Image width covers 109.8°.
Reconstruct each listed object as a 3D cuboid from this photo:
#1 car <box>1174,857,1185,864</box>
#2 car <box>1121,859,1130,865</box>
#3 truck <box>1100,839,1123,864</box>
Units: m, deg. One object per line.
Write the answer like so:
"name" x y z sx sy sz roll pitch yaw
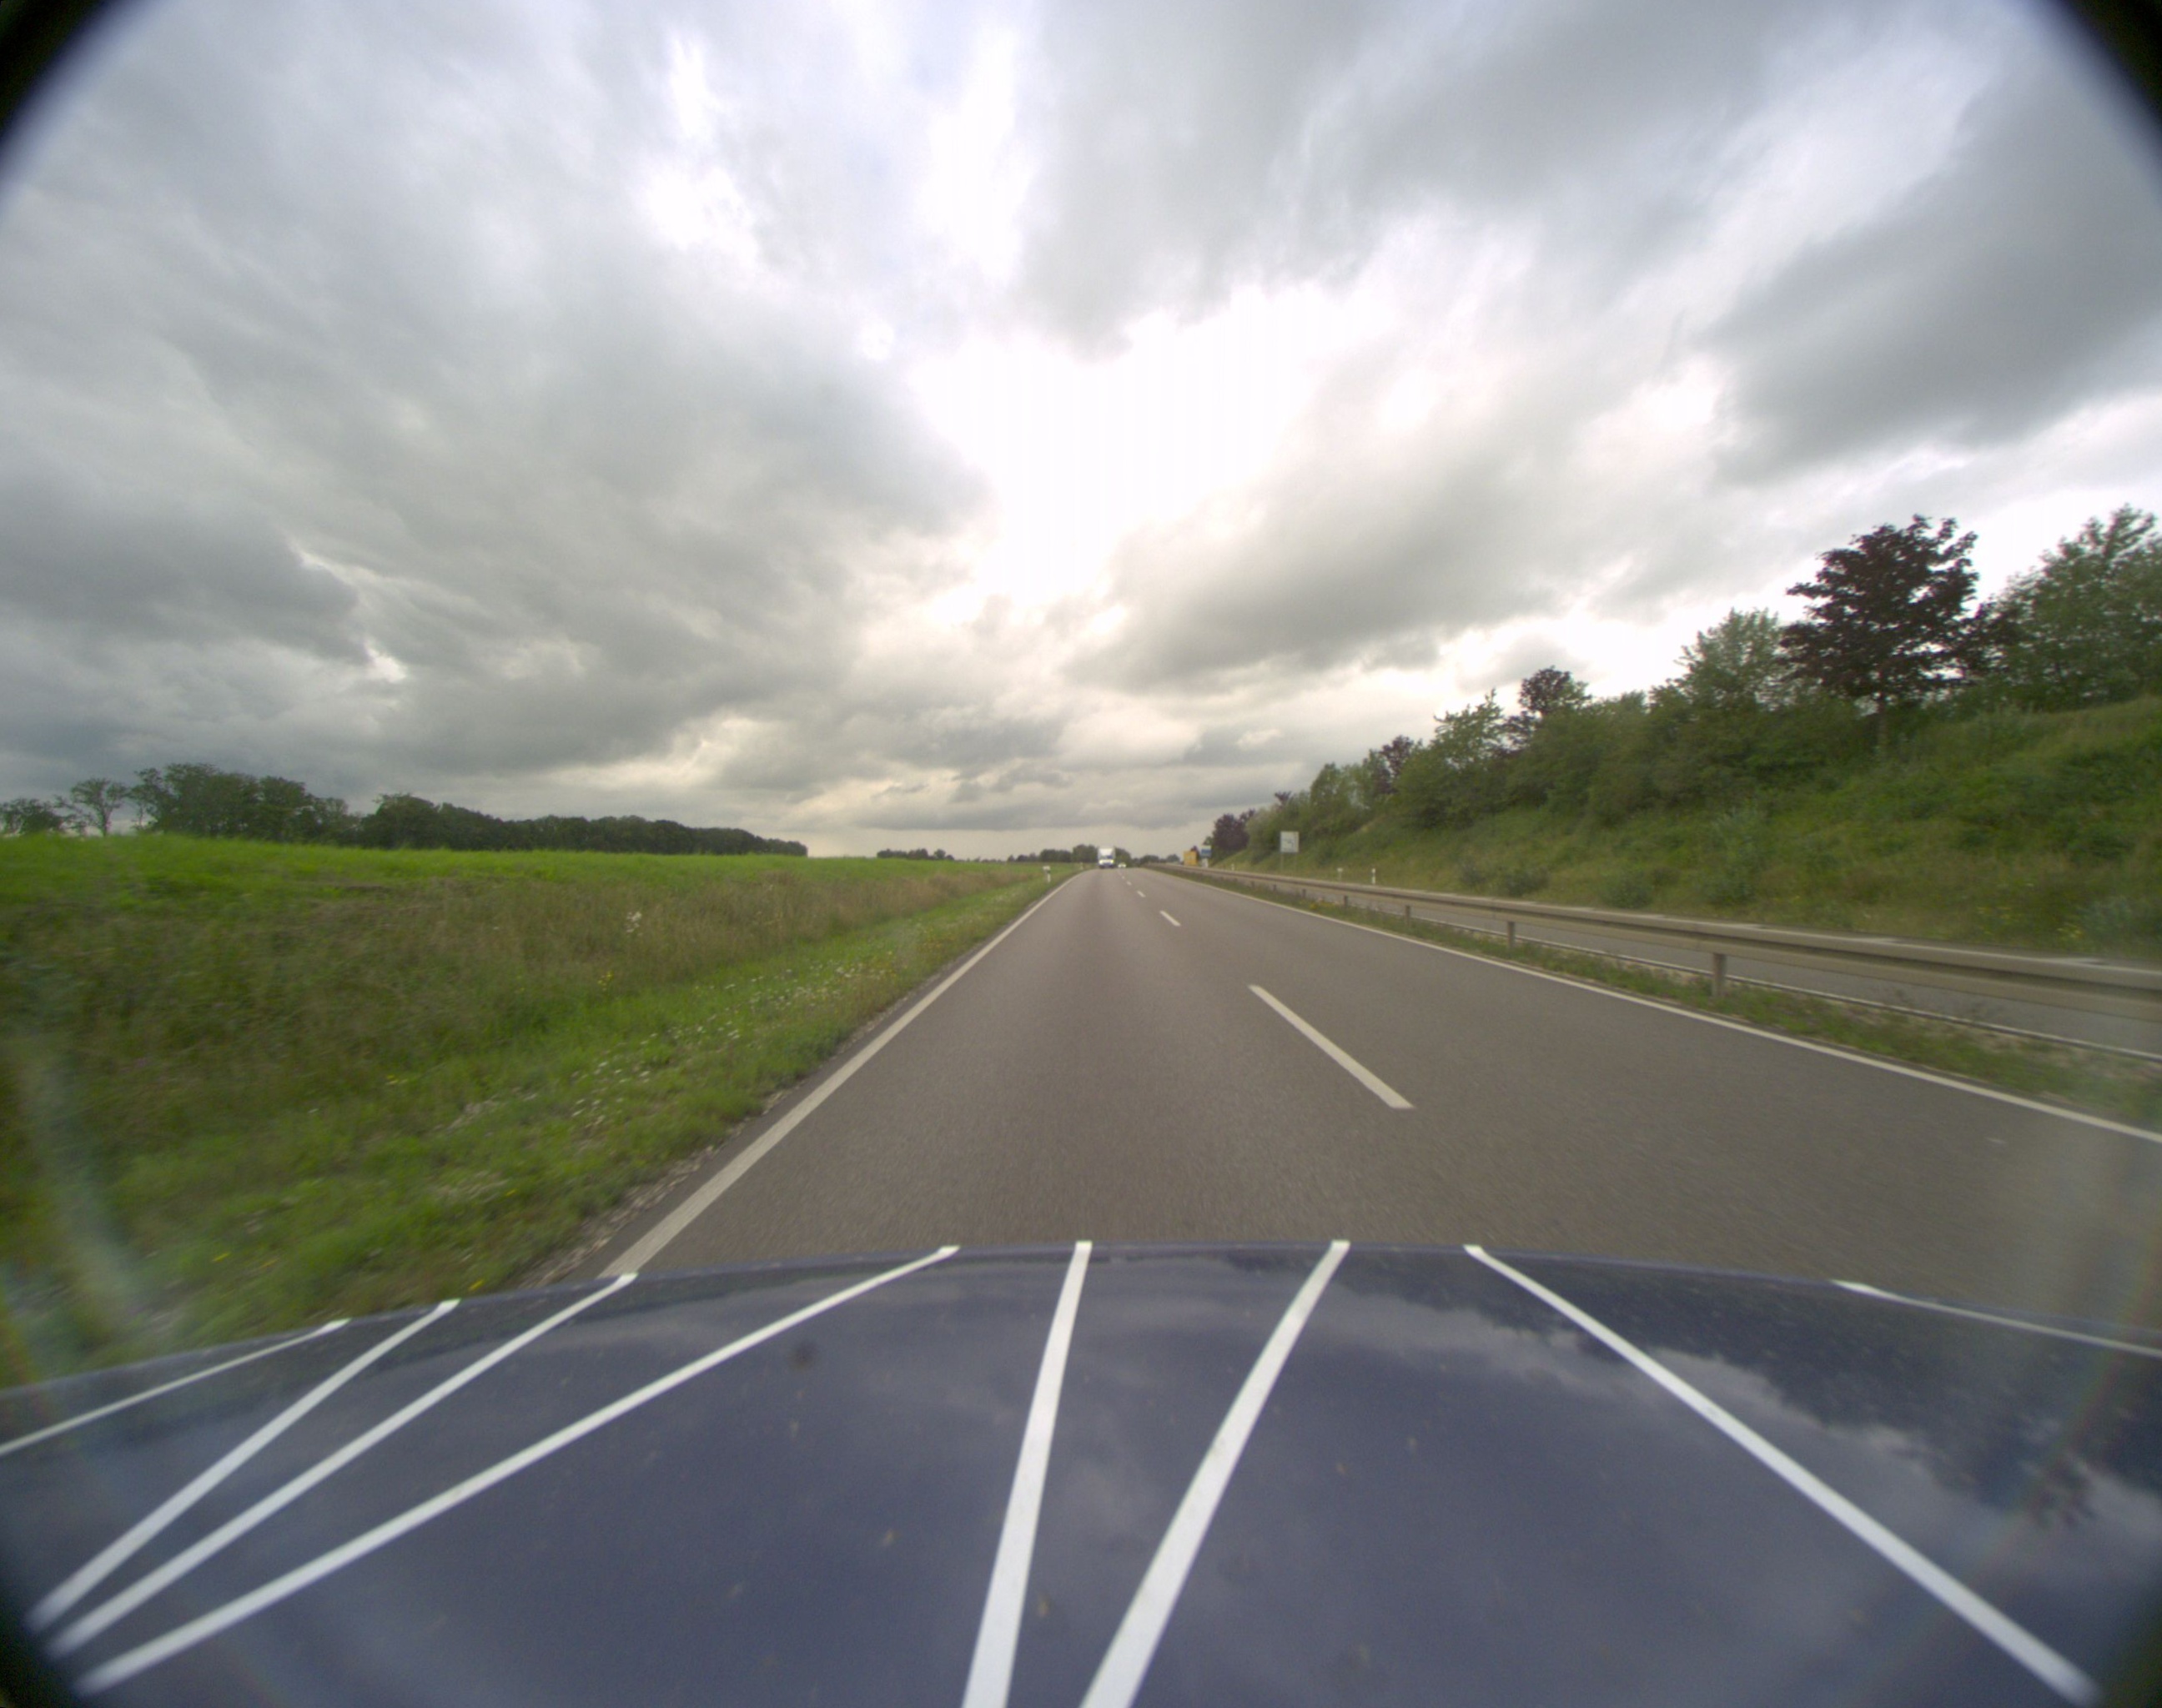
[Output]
"car" 22.646 1.508 174.786 1.925 1.508 4.465 0 -2 2
"car" 11.919 2.037 204.321 2.090 1.509 4.196 0 -2 7
"truck" 4.824 -0.296 119.153 2.933 3.651 8.449 0 -2 6
